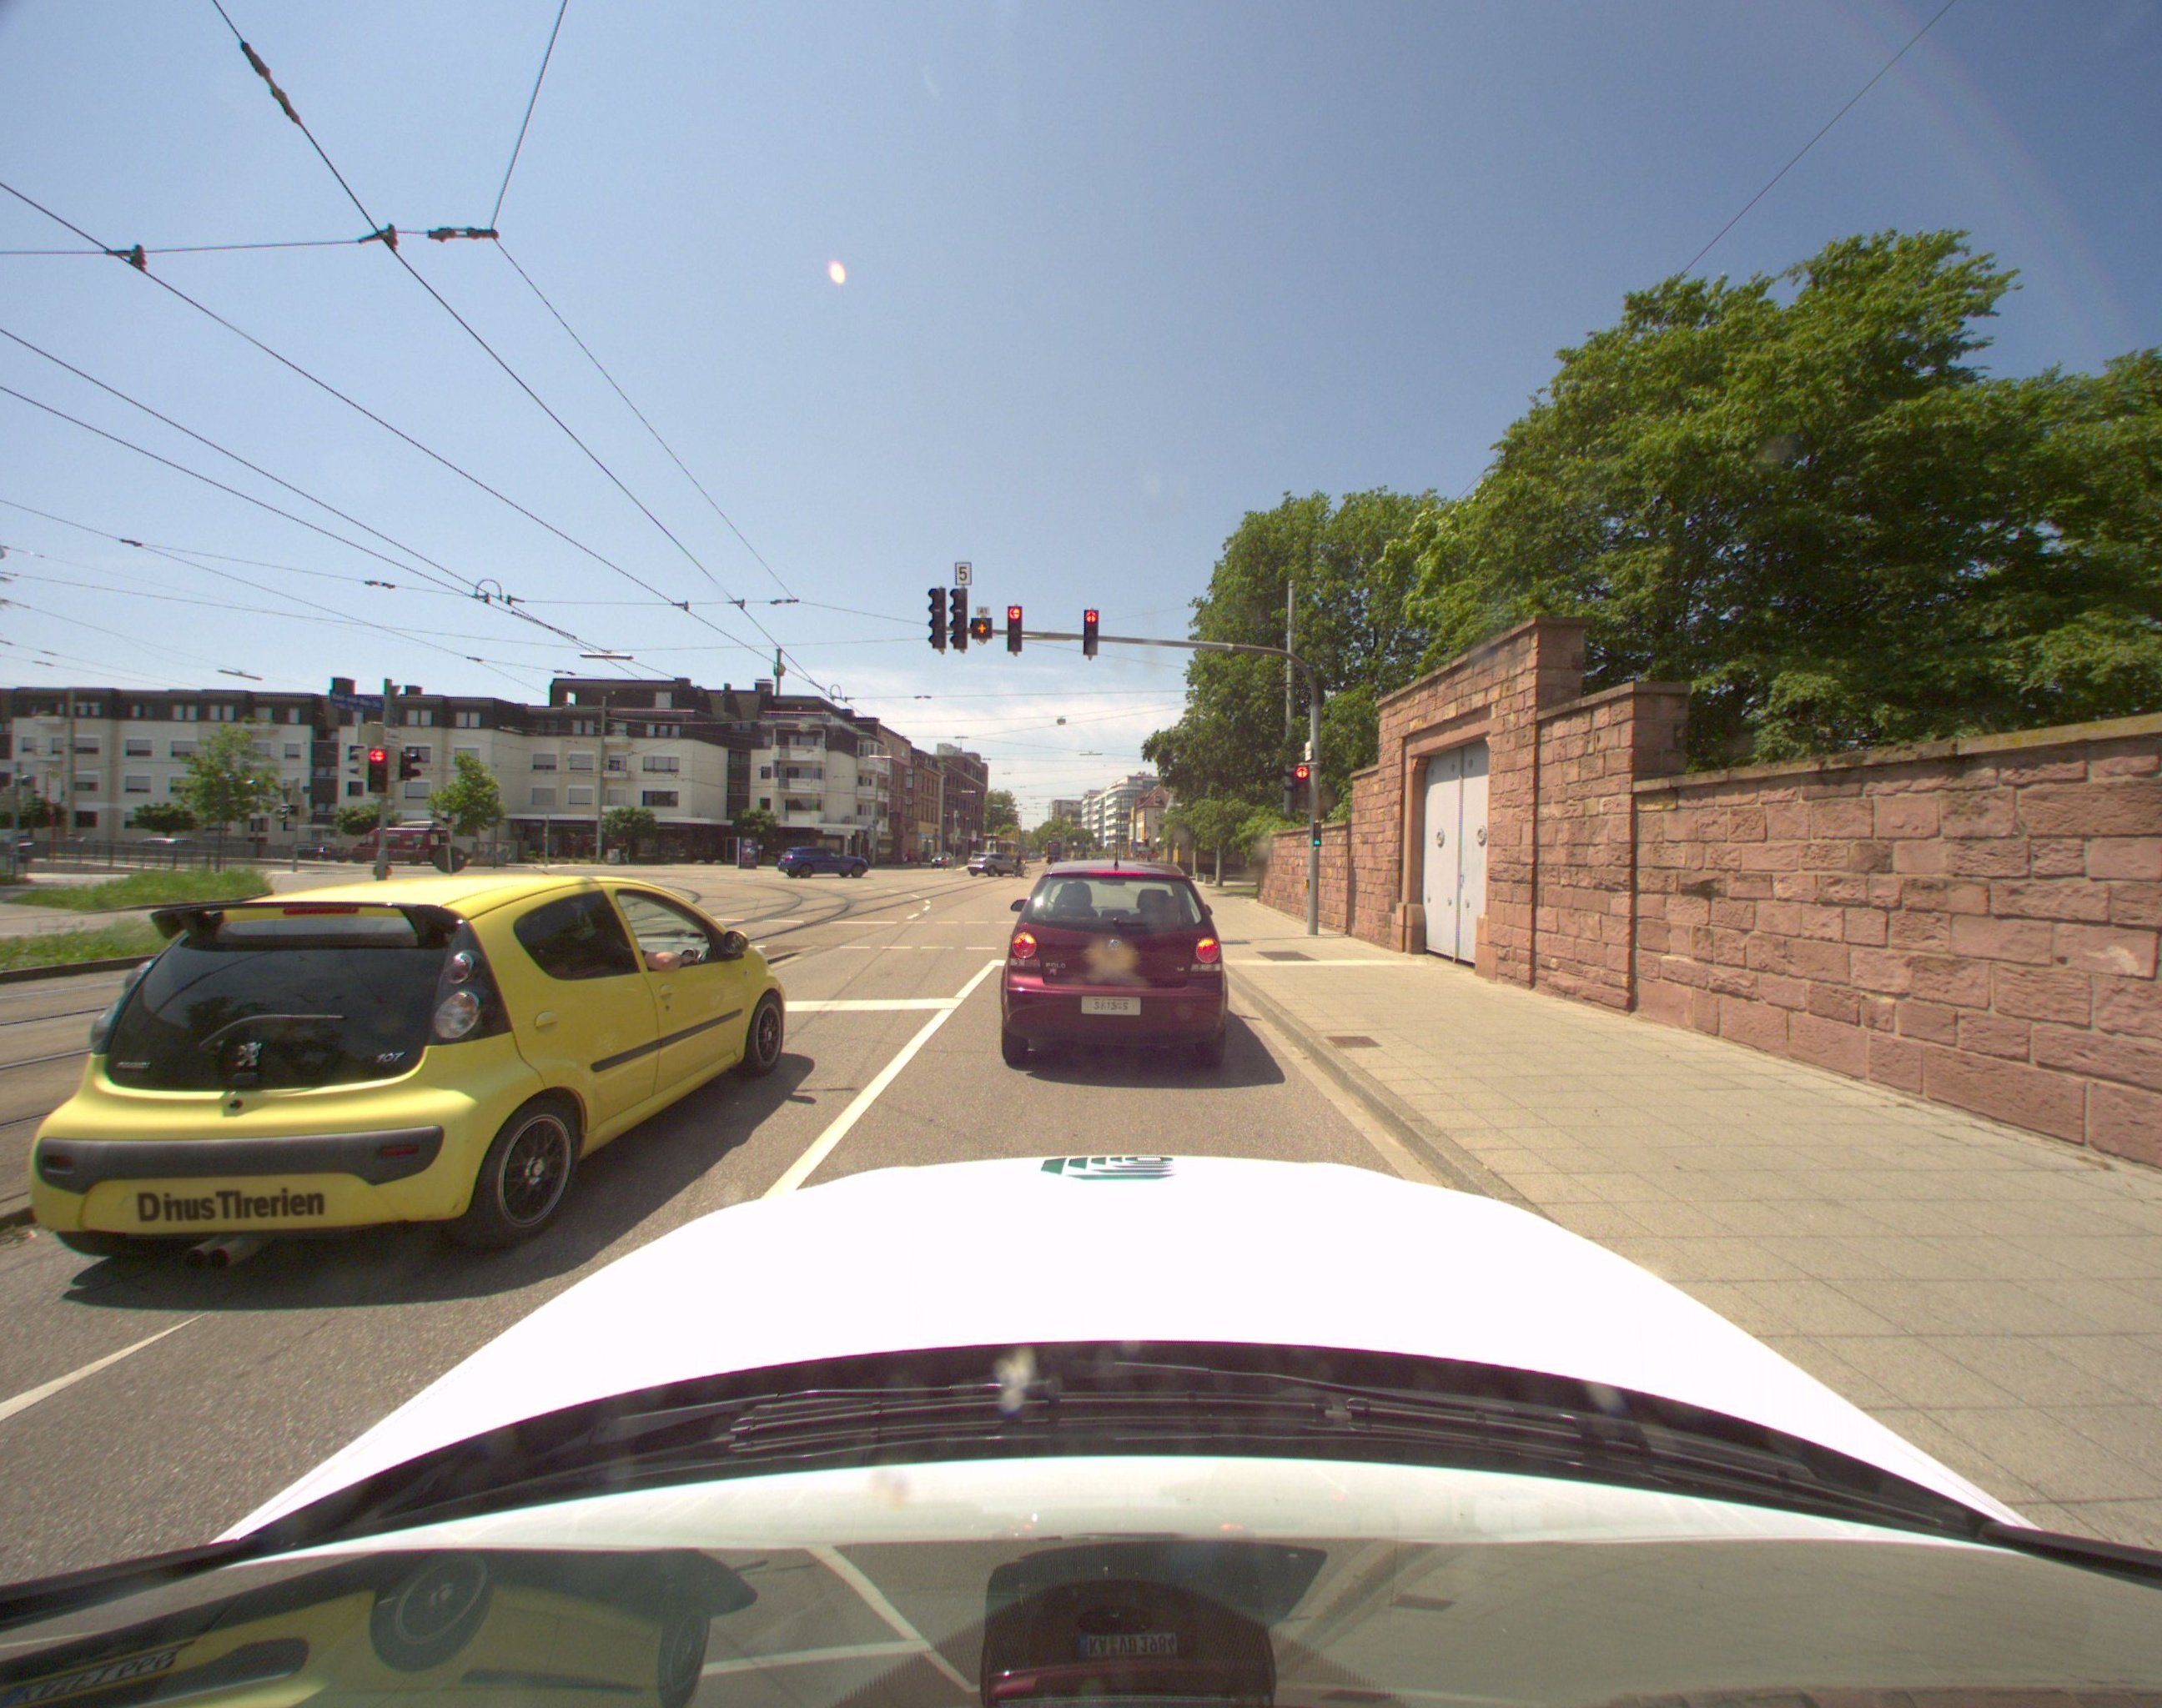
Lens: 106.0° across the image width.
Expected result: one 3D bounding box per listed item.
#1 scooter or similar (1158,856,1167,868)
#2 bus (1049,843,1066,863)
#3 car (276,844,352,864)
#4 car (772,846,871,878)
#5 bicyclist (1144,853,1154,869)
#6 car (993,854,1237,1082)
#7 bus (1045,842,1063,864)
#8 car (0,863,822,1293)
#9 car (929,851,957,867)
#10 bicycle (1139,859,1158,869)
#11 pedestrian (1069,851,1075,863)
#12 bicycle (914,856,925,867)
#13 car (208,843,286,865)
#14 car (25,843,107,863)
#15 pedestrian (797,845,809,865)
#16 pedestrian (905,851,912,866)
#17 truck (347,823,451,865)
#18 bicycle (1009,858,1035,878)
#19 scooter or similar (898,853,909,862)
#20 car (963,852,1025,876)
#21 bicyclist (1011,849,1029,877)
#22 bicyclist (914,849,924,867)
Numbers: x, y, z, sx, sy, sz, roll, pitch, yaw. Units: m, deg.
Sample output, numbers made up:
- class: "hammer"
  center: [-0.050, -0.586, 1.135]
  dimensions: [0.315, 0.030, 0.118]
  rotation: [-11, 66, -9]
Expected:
- class: "scooter or similar"
  center: [8.358, 0.848, 83.596]
  dimensions: [0.340, 1.178, 1.457]
  rotation: [1, 0, -22]
- class: "bus"
  center: [-3.645, -0.082, 126.856]
  dimensions: [2.224, 3.003, 6.597]
  rotation: [1, 0, 2]
- class: "car"
  center: [-51.352, 0.002, 54.545]
  dimensions: [3.556, 1.219, 1.591]
  rotation: [1, 0, 2]
- class: "car"
  center: [-13.884, 0.449, 43.715]
  dimensions: [4.656, 1.624, 1.976]
  rotation: [1, 0, -41]
- class: "bicyclist"
  center: [7.266, 0.746, 86.979]
  dimensions: [0.850, 1.618, 0.839]
  rotation: [-2, 1, 20]
- class: "car"
  center: [0.244, 0.742, 6.814]
  dimensions: [1.556, 1.453, 3.062]
  rotation: [1, 0, 1]
- class: "bus"
  center: [-3.930, -0.133, 120.271]
  dimensions: [2.136, 3.003, 6.577]
  rotation: [1, 0, 2]
- class: "car"
  center: [-2.897, 0.789, 4.632]
  dimensions: [1.610, 1.421, 3.656]
  rotation: [-1, -1, 1]
- class: "car"
  center: [-13.790, 0.526, 81.456]
  dimensions: [1.986, 1.553, 4.141]
  rotation: [1, 0, 2]
- class: "bicycle"
  center: [7.230, 1.069, 86.961]
  dimensions: [1.842, 1.002, 0.674]
  rotation: [-2, 1, 20]
- class: "pedestrian"
  center: [-1.285, 0.421, 117.213]
  dimensions: [0.760, 1.674, 1.101]
  rotation: [1, 0, 2]
- class: "bicycle"
  center: [-16.508, 0.757, 83.071]
  dimensions: [0.692, 1.149, 1.932]
  rotation: [1, 1, 1]
- class: "car"
  center: [-55.629, 0.000, 54.333]
  dimensions: [3.556, 1.433, 1.591]
  rotation: [1, 0, 2]
- class: "car"
  center: [-67.769, -0.074, 54.398]
  dimensions: [3.556, 1.240, 1.591]
  rotation: [1, 0, 2]
- class: "pedestrian"
  center: [-23.616, 0.112, 69.118]
  dimensions: [0.805, 1.696, 0.699]
  rotation: [1, 0, -10]
- class: "pedestrian"
  center: [-18.266, 0.478, 86.314]
  dimensions: [0.612, 1.560, 0.640]
  rotation: [1, 0, 1]
- class: "truck"
  center: [-45.430, -0.648, 54.316]
  dimensions: [5.007, 2.698, 2.188]
  rotation: [1, 0, 1]
- class: "bicycle"
  center: [-3.689, 0.871, 51.097]
  dimensions: [0.372, 1.197, 1.917]
  rotation: [1, 0, 40]
- class: "scooter or similar"
  center: [-20.172, 0.384, 92.538]
  dimensions: [0.484, 1.082, 1.584]
  rotation: [1, 0, 18]
- class: "car"
  center: [-5.757, 0.636, 54.382]
  dimensions: [1.806, 1.530, 4.025]
  rotation: [1, 0, 37]
- class: "bicyclist"
  center: [-3.819, 0.566, 50.993]
  dimensions: [0.720, 1.760, 0.929]
  rotation: [1, 0, 39]
- class: "bicyclist"
  center: [-16.518, 0.432, 83.092]
  dimensions: [0.692, 1.765, 1.137]
  rotation: [1, 1, 1]
